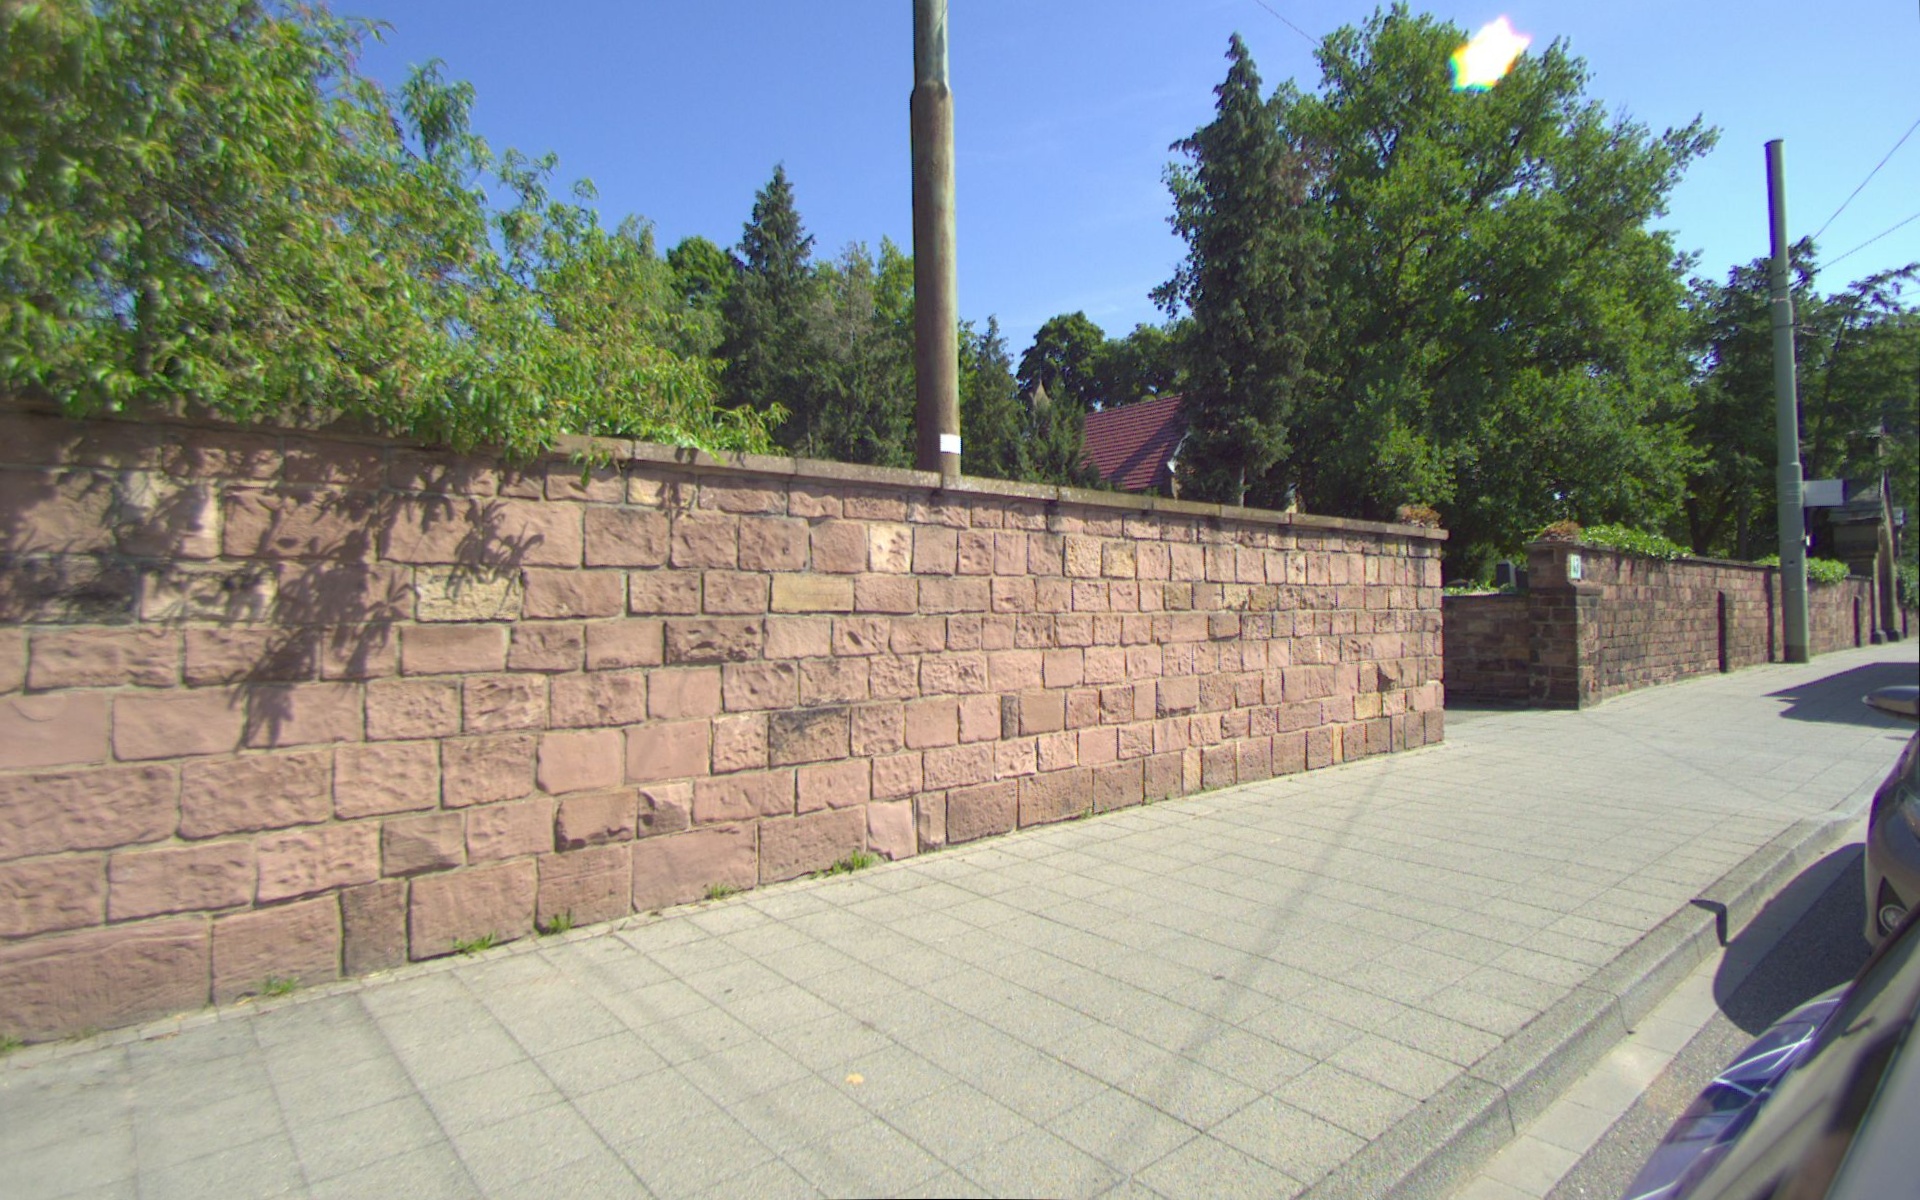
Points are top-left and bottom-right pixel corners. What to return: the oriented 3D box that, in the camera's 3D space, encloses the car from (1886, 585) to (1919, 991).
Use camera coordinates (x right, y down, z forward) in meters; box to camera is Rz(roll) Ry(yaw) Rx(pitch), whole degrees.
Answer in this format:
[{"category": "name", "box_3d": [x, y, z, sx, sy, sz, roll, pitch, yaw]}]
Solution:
[{"category": "car", "box_3d": [5.264, 0.645, 4.221, 3.930, 1.400, 1.653, 0, 1, -41]}]
